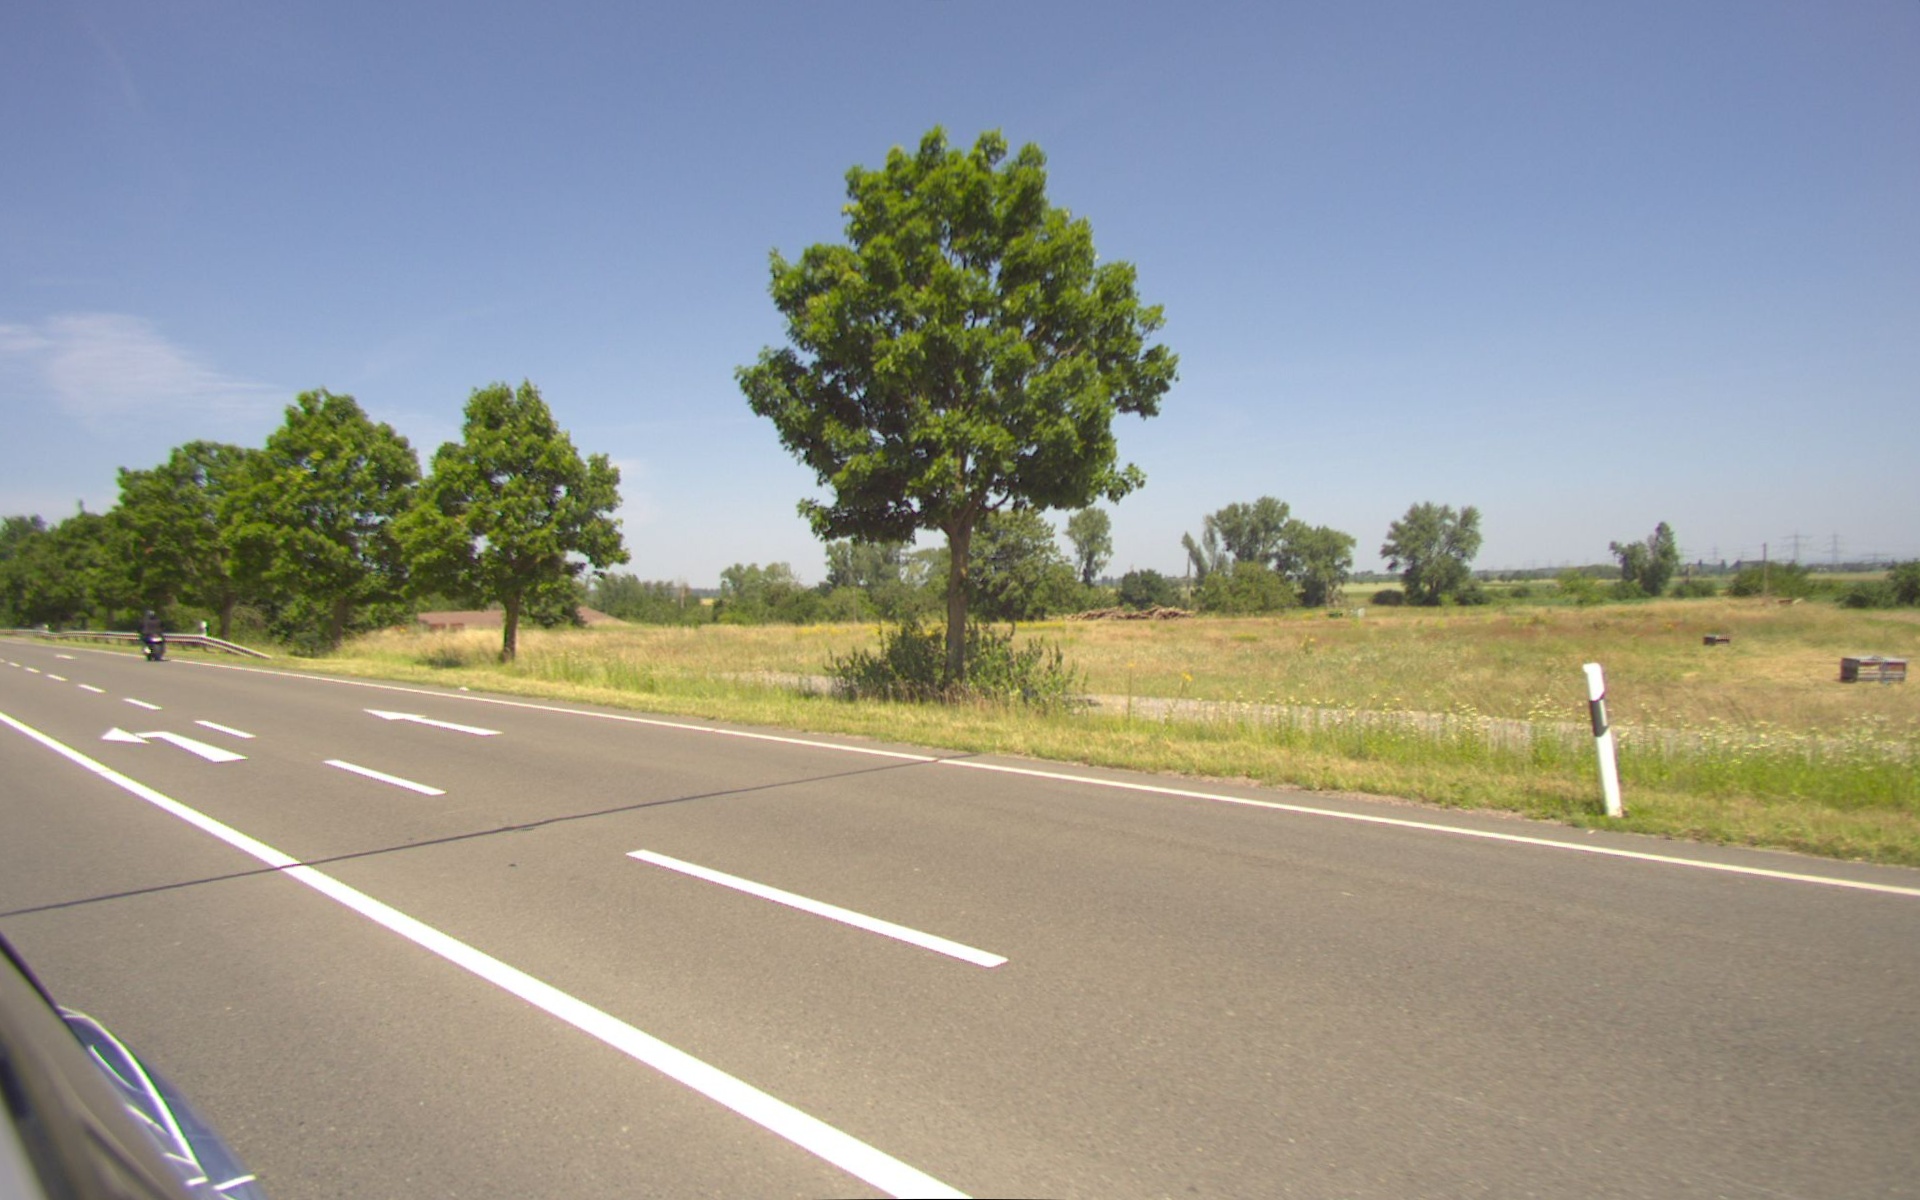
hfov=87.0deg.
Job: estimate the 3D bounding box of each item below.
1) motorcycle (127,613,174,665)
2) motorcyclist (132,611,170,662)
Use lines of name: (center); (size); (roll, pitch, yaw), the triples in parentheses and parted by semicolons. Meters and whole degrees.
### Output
motorcycle: (-28.024, 1.331, 35.025); (2.444, 1.756, 0.879); (-1, -1, 42)
motorcyclist: (-28.026, 1.250, 35.042); (1.088, 1.734, 0.844); (-1, -1, 41)
